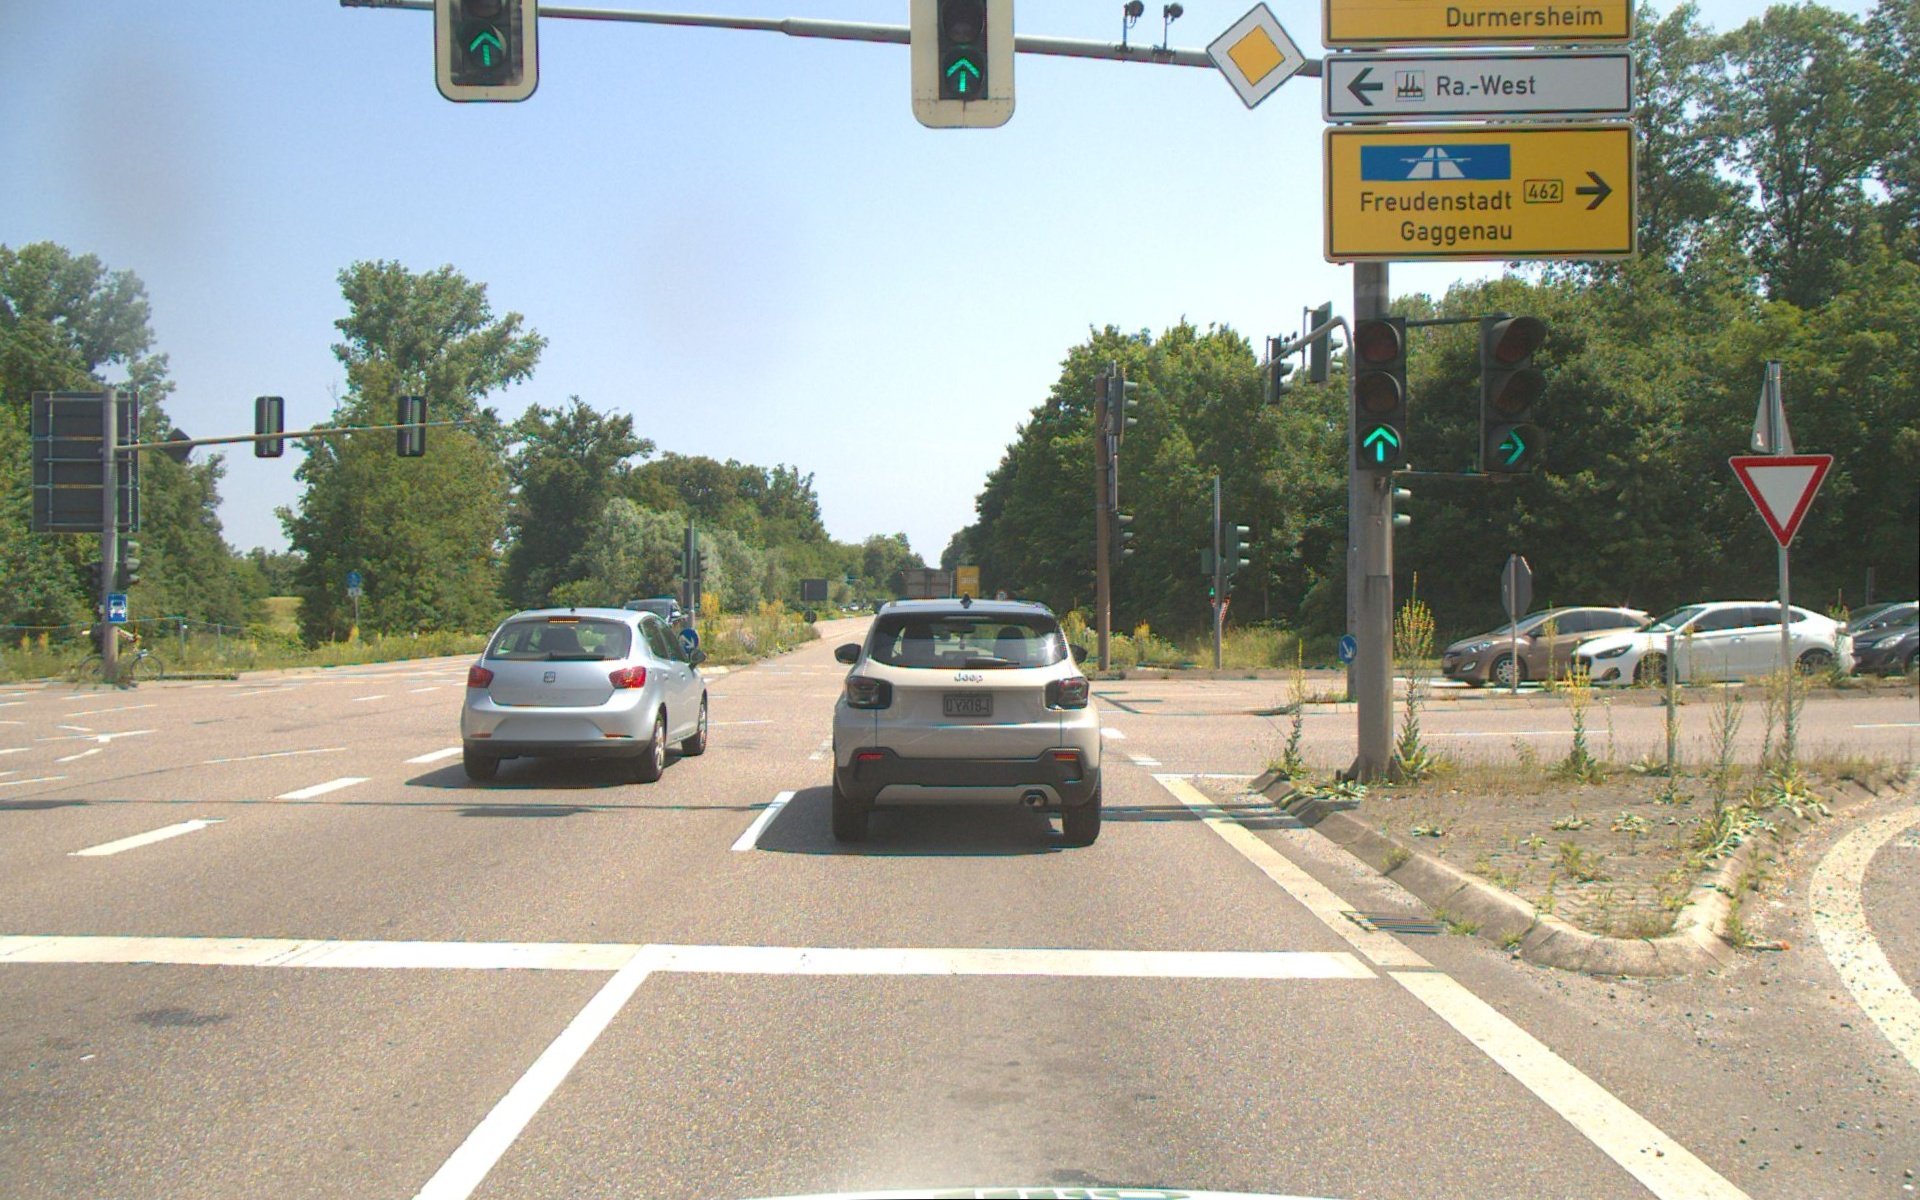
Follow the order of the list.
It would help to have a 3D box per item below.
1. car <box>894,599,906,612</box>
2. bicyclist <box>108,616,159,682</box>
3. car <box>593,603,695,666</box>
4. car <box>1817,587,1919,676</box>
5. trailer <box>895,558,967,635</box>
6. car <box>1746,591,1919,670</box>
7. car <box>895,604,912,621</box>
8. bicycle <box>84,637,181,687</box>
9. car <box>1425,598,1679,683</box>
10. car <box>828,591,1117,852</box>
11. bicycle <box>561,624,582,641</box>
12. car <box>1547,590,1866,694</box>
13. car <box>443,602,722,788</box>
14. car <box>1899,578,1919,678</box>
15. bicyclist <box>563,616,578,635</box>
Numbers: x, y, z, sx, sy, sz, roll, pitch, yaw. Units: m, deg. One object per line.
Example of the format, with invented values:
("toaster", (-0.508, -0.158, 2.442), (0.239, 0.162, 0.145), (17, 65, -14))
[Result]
("car", (-9.323, 0.864, 256.192), (1.737, 2.049, 4.000), (-1, 0, 0))
("bicyclist", (-18.990, 1.125, 38.021), (0.908, 1.485, 0.713), (-1, -1, 37))
("car", (-9.324, 0.979, 49.195), (1.953, 1.707, 5.365), (-2, 0, 0))
("car", (18.557, 0.544, 30.554), (4.329, 1.562, 2.122), (-1, -1, -1))
("trailer", (-1.503, -0.092, 93.743), (3.312, 4.059, 10.807), (1, -1, 3))
("car", (19.068, 0.612, 34.268), (4.522, 1.525, 2.111), (-1, -1, -1))
("car", (-7.192, 1.579, 210.532), (1.953, 2.049, 4.552), (-1, 0, -1))
("bicycle", (-18.991, 1.408, 37.991), (0.710, 1.082, 1.862), (-1, 0, 36))
("car", (11.005, 0.739, 30.951), (4.010, 1.472, 1.994), (-1, 0, -3))
("car", (0.077, 0.741, 11.940), (1.731, 1.562, 4.000), (0, 0, 0))
("bicycle", (-25.080, 2.072, 106.711), (0.661, 1.023, 1.802), (-2, 0, 9))
("car", (12.153, 0.661, 27.116), (4.330, 1.562, 1.999), (-1, 0, -2))
("car", (-3.274, 0.765, 15.054), (1.631, 1.455, 3.828), (1, 0, 0))
("car", (18.221, 0.429, 27.483), (4.087, 1.688, 2.000), (-1, 0, -1))
("bicyclist", (-25.110, 1.655, 106.643), (0.741, 1.216, 0.592), (-2, 0, 10))
